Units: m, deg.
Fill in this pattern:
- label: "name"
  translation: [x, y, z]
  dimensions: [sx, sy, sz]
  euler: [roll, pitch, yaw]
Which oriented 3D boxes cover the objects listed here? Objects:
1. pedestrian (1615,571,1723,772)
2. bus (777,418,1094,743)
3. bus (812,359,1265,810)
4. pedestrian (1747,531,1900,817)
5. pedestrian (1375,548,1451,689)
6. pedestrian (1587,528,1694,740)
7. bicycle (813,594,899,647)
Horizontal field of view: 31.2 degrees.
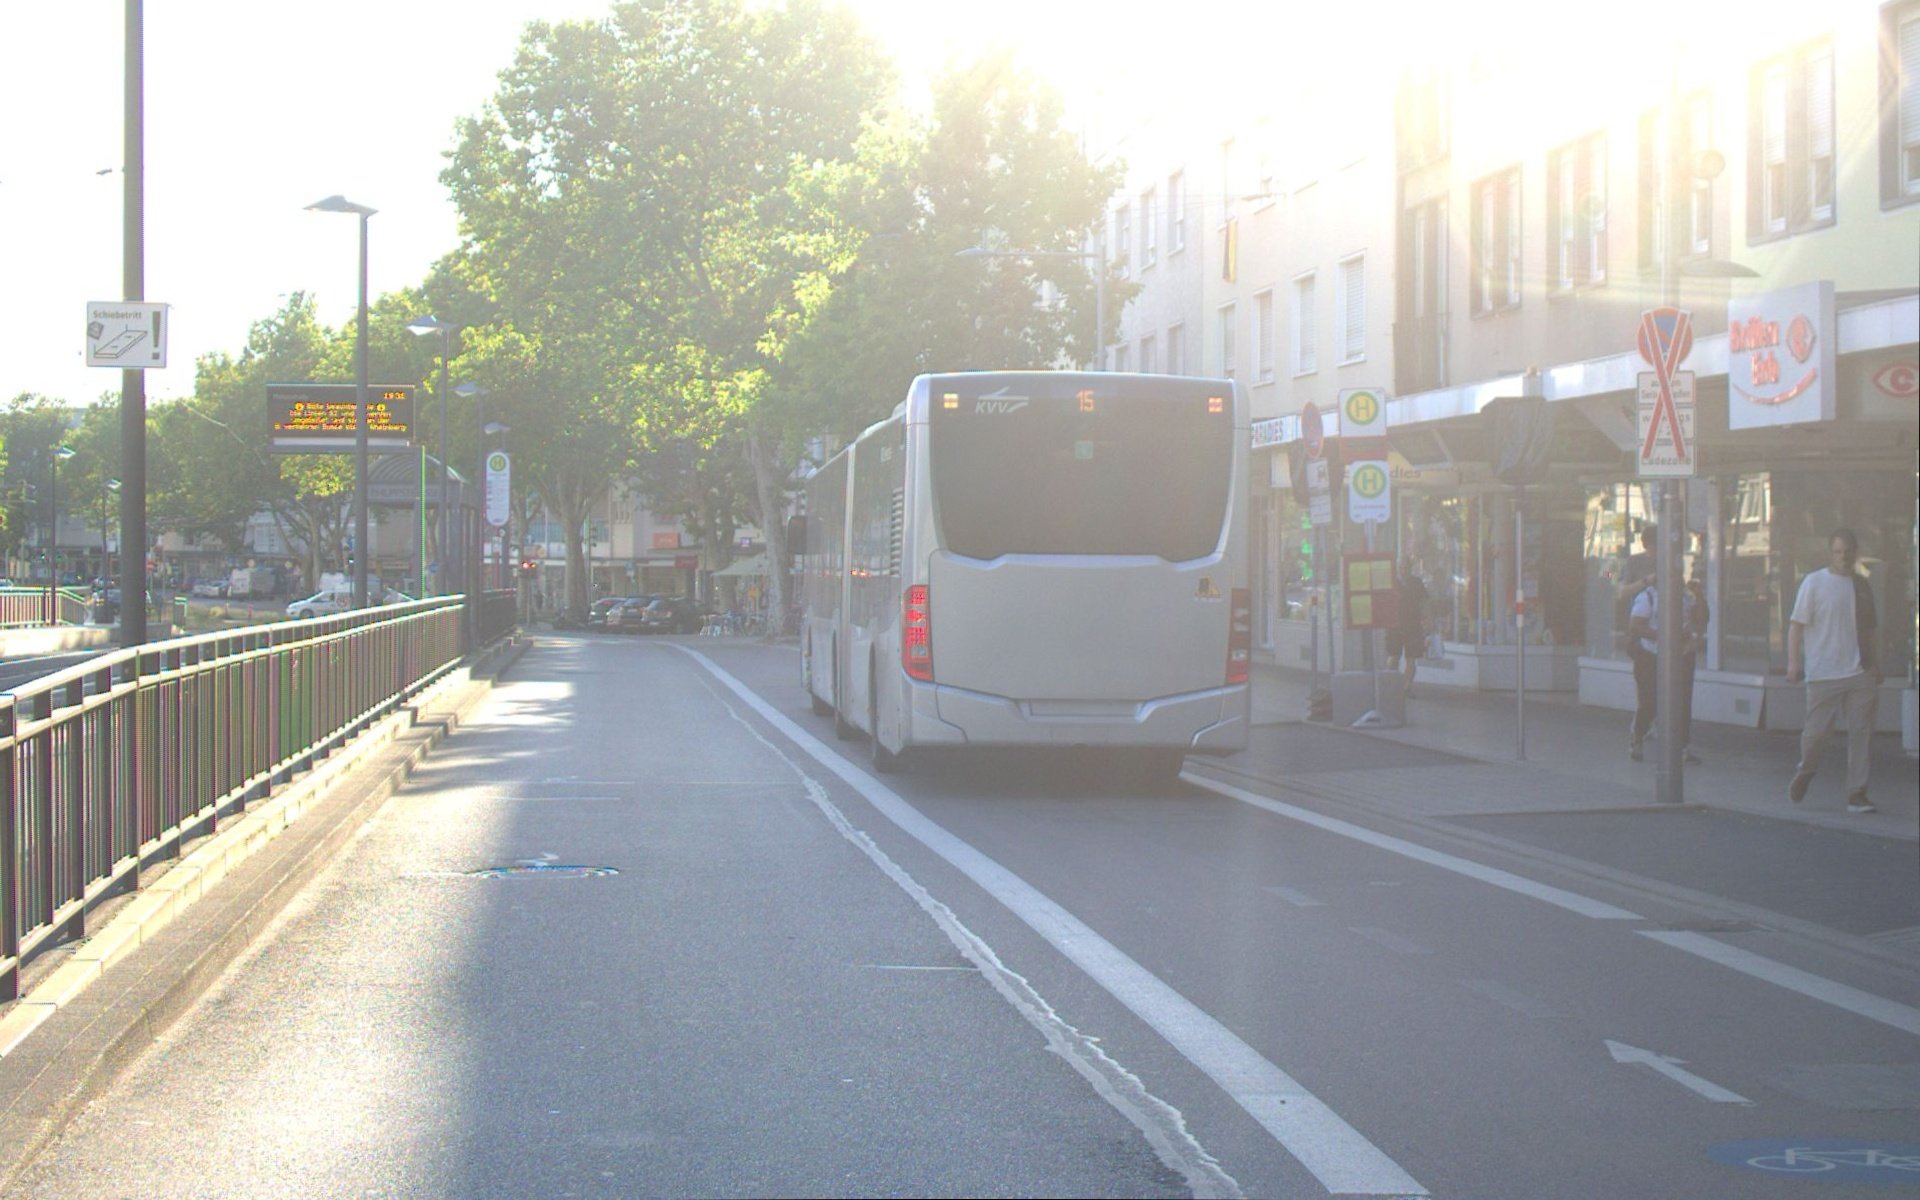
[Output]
- label: "pedestrian"
  translation: [5.621, 0.556, 27.278]
  dimensions: [0.610, 1.573, 0.851]
  euler: [0, 0, -6]
- label: "bus"
  translation: [-0.474, -0.229, 37.885]
  dimensions: [2.696, 3.107, 9.071]
  euler: [1, 0, -5]
- label: "bus"
  translation: [0.353, -0.145, 28.734]
  dimensions: [2.696, 3.107, 9.383]
  euler: [1, 0, -5]
- label: "pedestrian"
  translation: [5.450, 0.455, 21.726]
  dimensions: [0.723, 1.773, 0.766]
  euler: [0, 0, -6]
- label: "pedestrian"
  translation: [5.273, 0.209, 40.041]
  dimensions: [0.723, 1.627, 0.766]
  euler: [0, 0, -6]
- label: "pedestrian"
  translation: [5.955, 0.292, 30.105]
  dimensions: [0.723, 1.834, 0.766]
  euler: [0, 0, -6]
- label: "bicycle"
  translation: [-2.373, 0.470, 78.418]
  dimensions: [1.886, 1.073, 0.754]
  euler: [-4, 1, -2]
